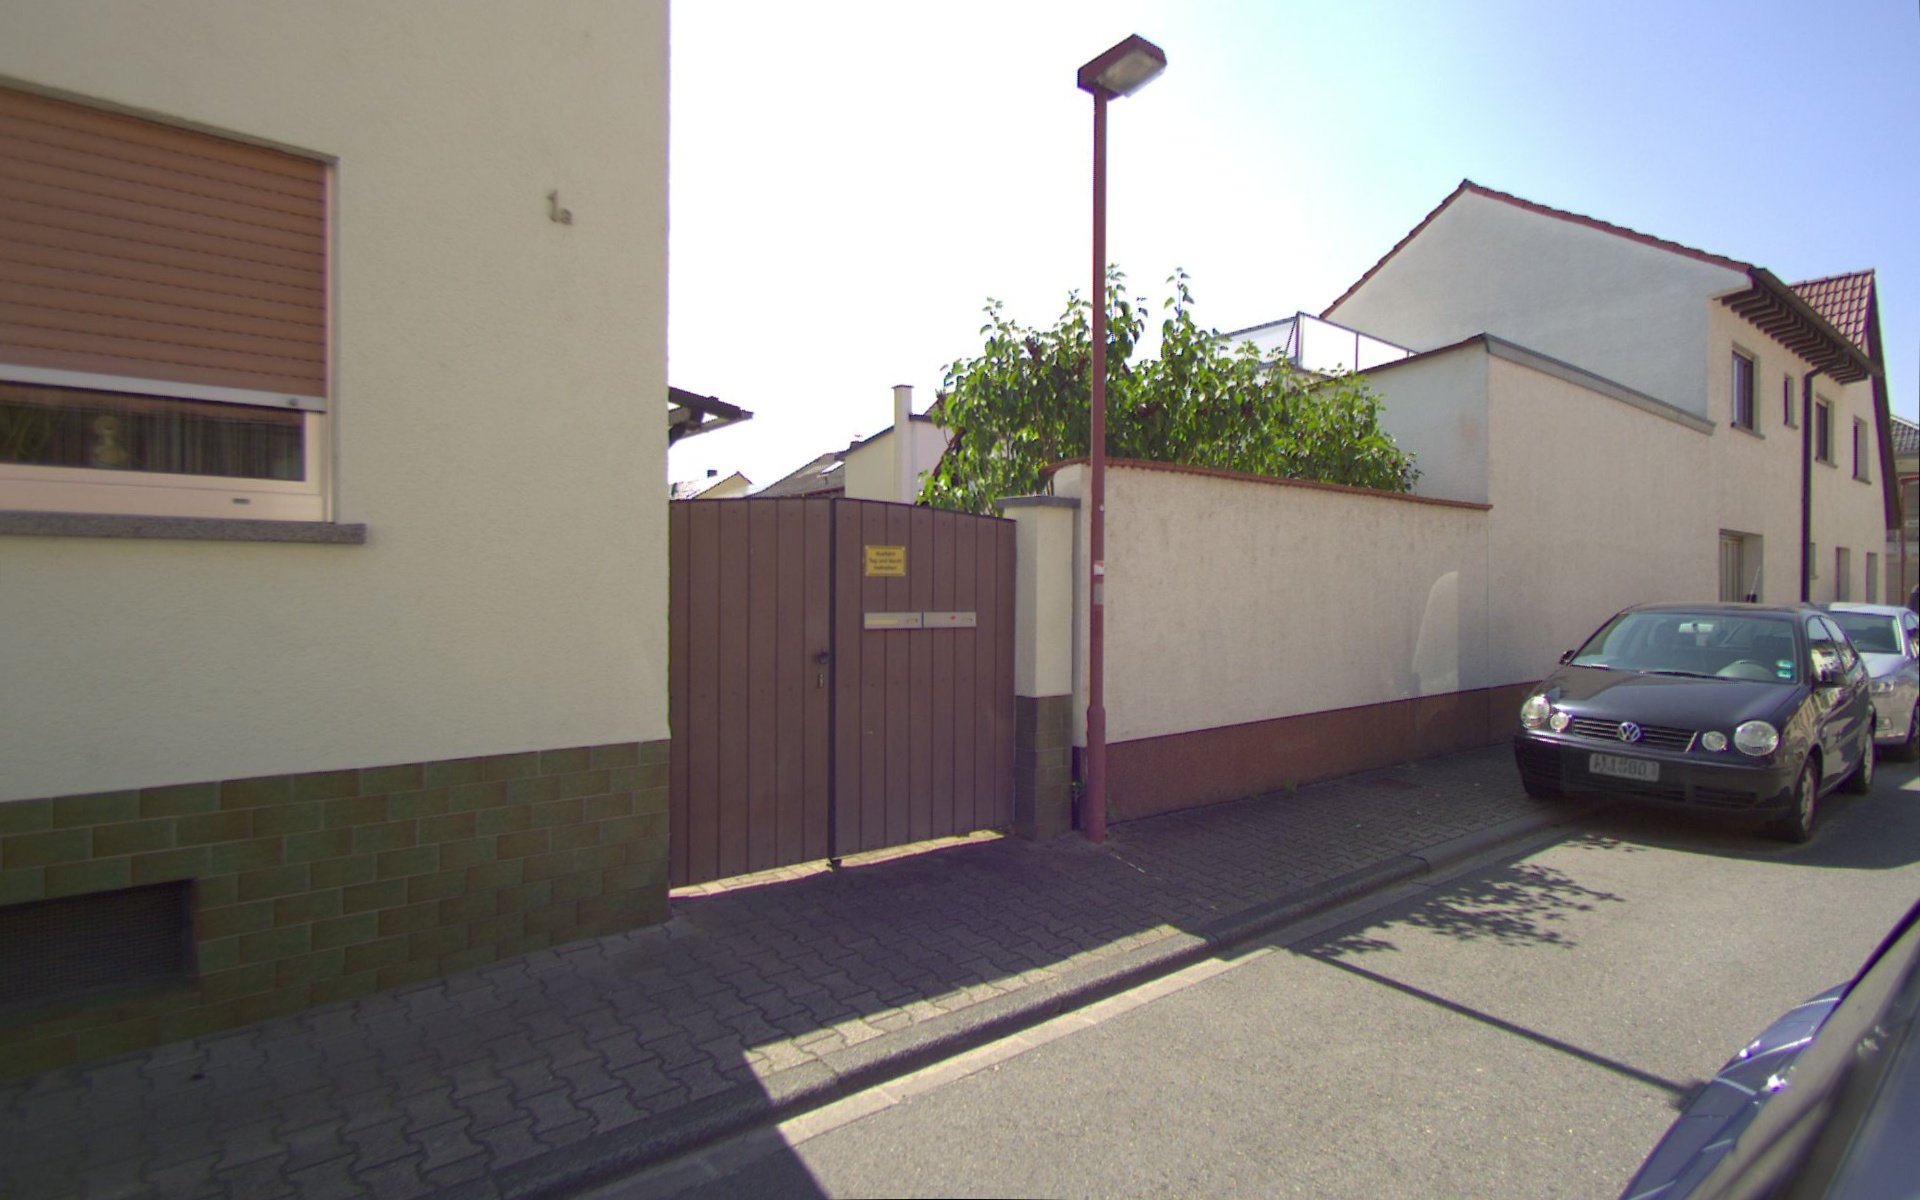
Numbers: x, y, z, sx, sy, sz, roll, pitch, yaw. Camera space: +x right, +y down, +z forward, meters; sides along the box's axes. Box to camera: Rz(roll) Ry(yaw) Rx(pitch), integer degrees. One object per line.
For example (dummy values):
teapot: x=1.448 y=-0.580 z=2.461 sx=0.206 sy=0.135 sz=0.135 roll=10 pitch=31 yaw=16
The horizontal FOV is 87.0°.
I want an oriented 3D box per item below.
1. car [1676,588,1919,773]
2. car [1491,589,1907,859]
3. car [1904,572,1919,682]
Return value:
car: x=9.577 y=0.668 z=10.920 sx=4.846 sy=1.499 sz=1.795 roll=-1 pitch=3 yaw=-40
car: x=5.679 y=0.669 z=7.578 sx=4.062 sy=1.454 sz=1.652 roll=-1 pitch=2 yaw=-41
car: x=18.300 y=0.407 z=17.976 sx=4.767 sy=1.848 sz=1.812 roll=-1 pitch=-1 yaw=-42
